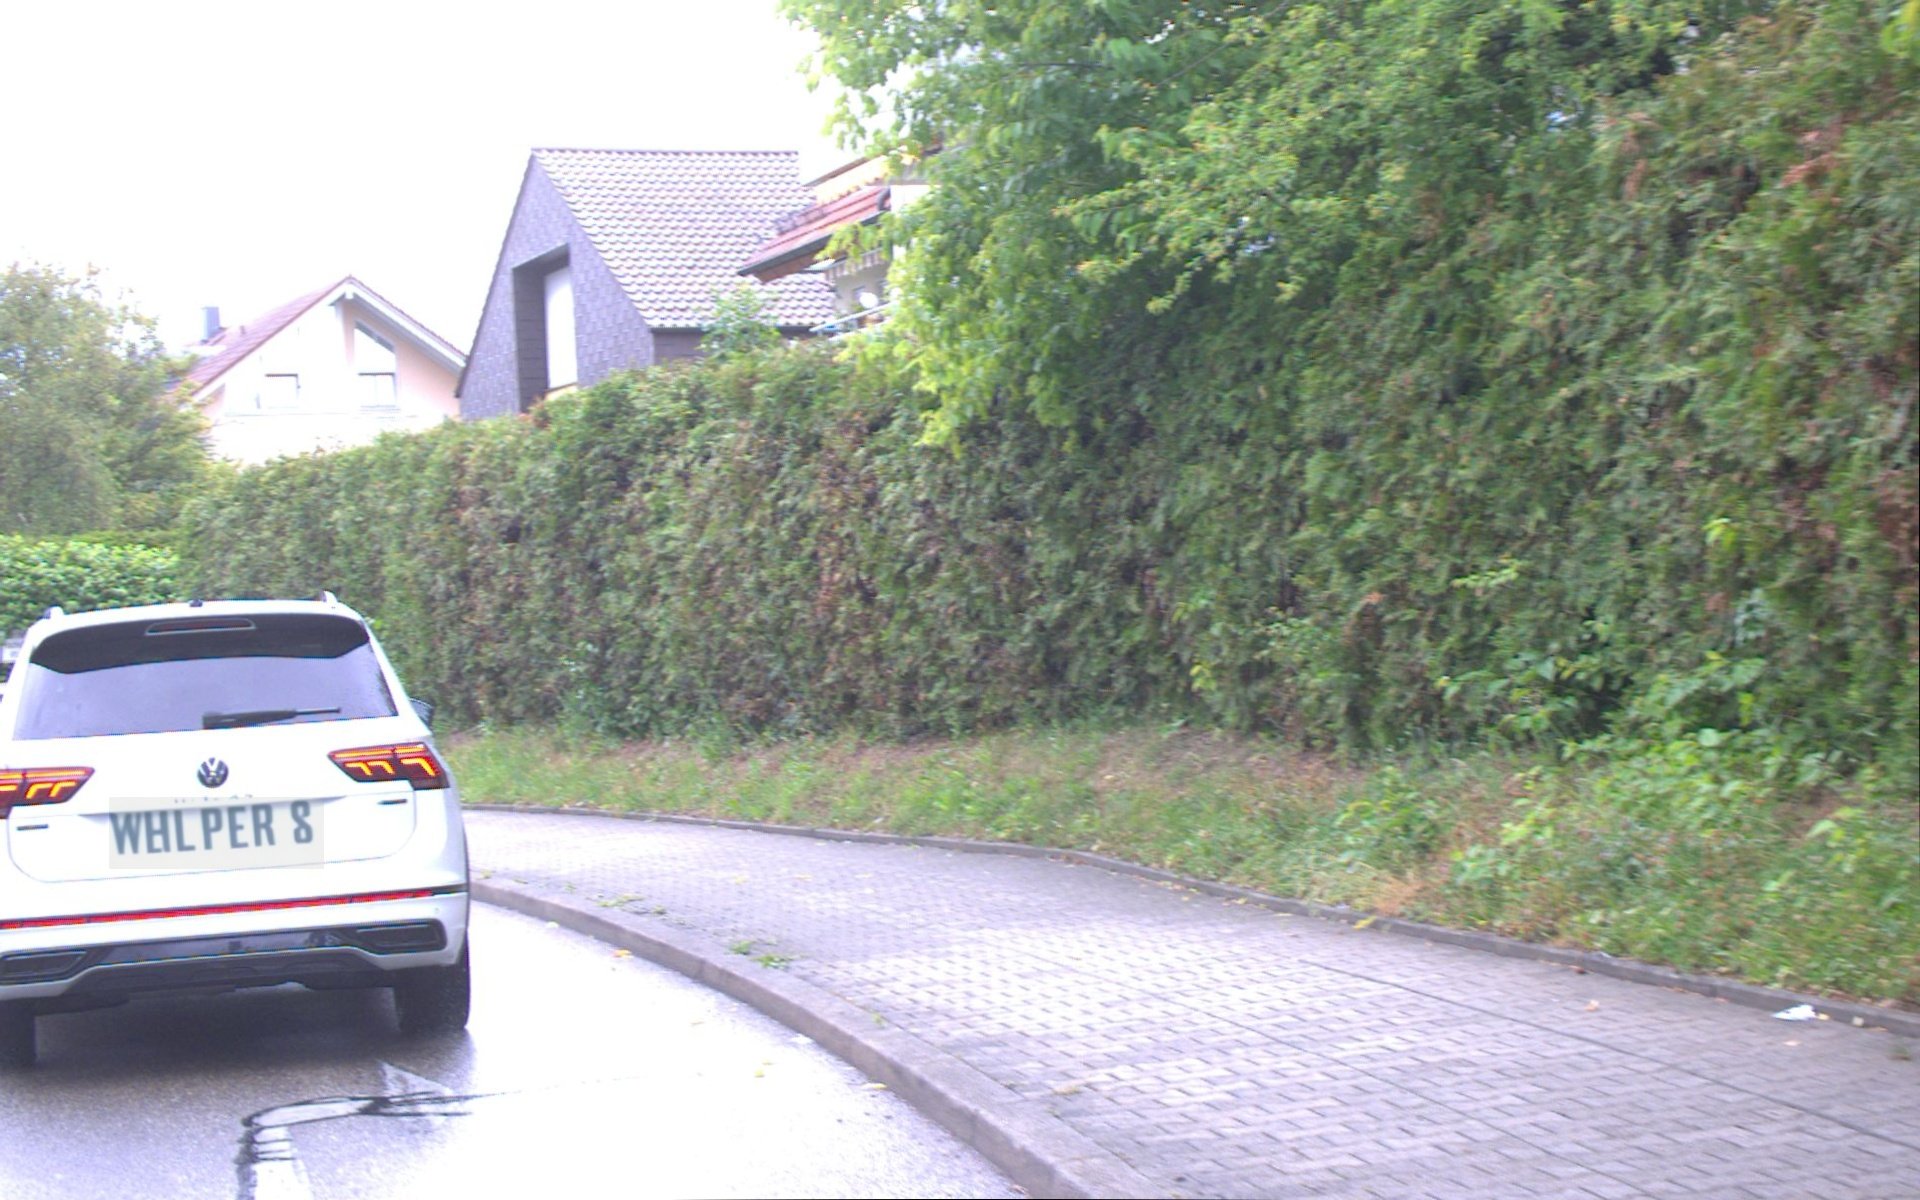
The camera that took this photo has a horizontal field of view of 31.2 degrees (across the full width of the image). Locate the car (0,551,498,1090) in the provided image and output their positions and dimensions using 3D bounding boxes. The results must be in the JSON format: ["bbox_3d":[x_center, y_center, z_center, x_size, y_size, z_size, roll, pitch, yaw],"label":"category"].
[{"bbox_3d":[-3.036,0.783,13.579,1.920,1.716,4.265,-2,-1,-13],"label":"car"}]

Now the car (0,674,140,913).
[{"bbox_3d":[-6.962,1.325,24.739,1.764,1.505,4.001,0,0,-18],"label":"car"}]
